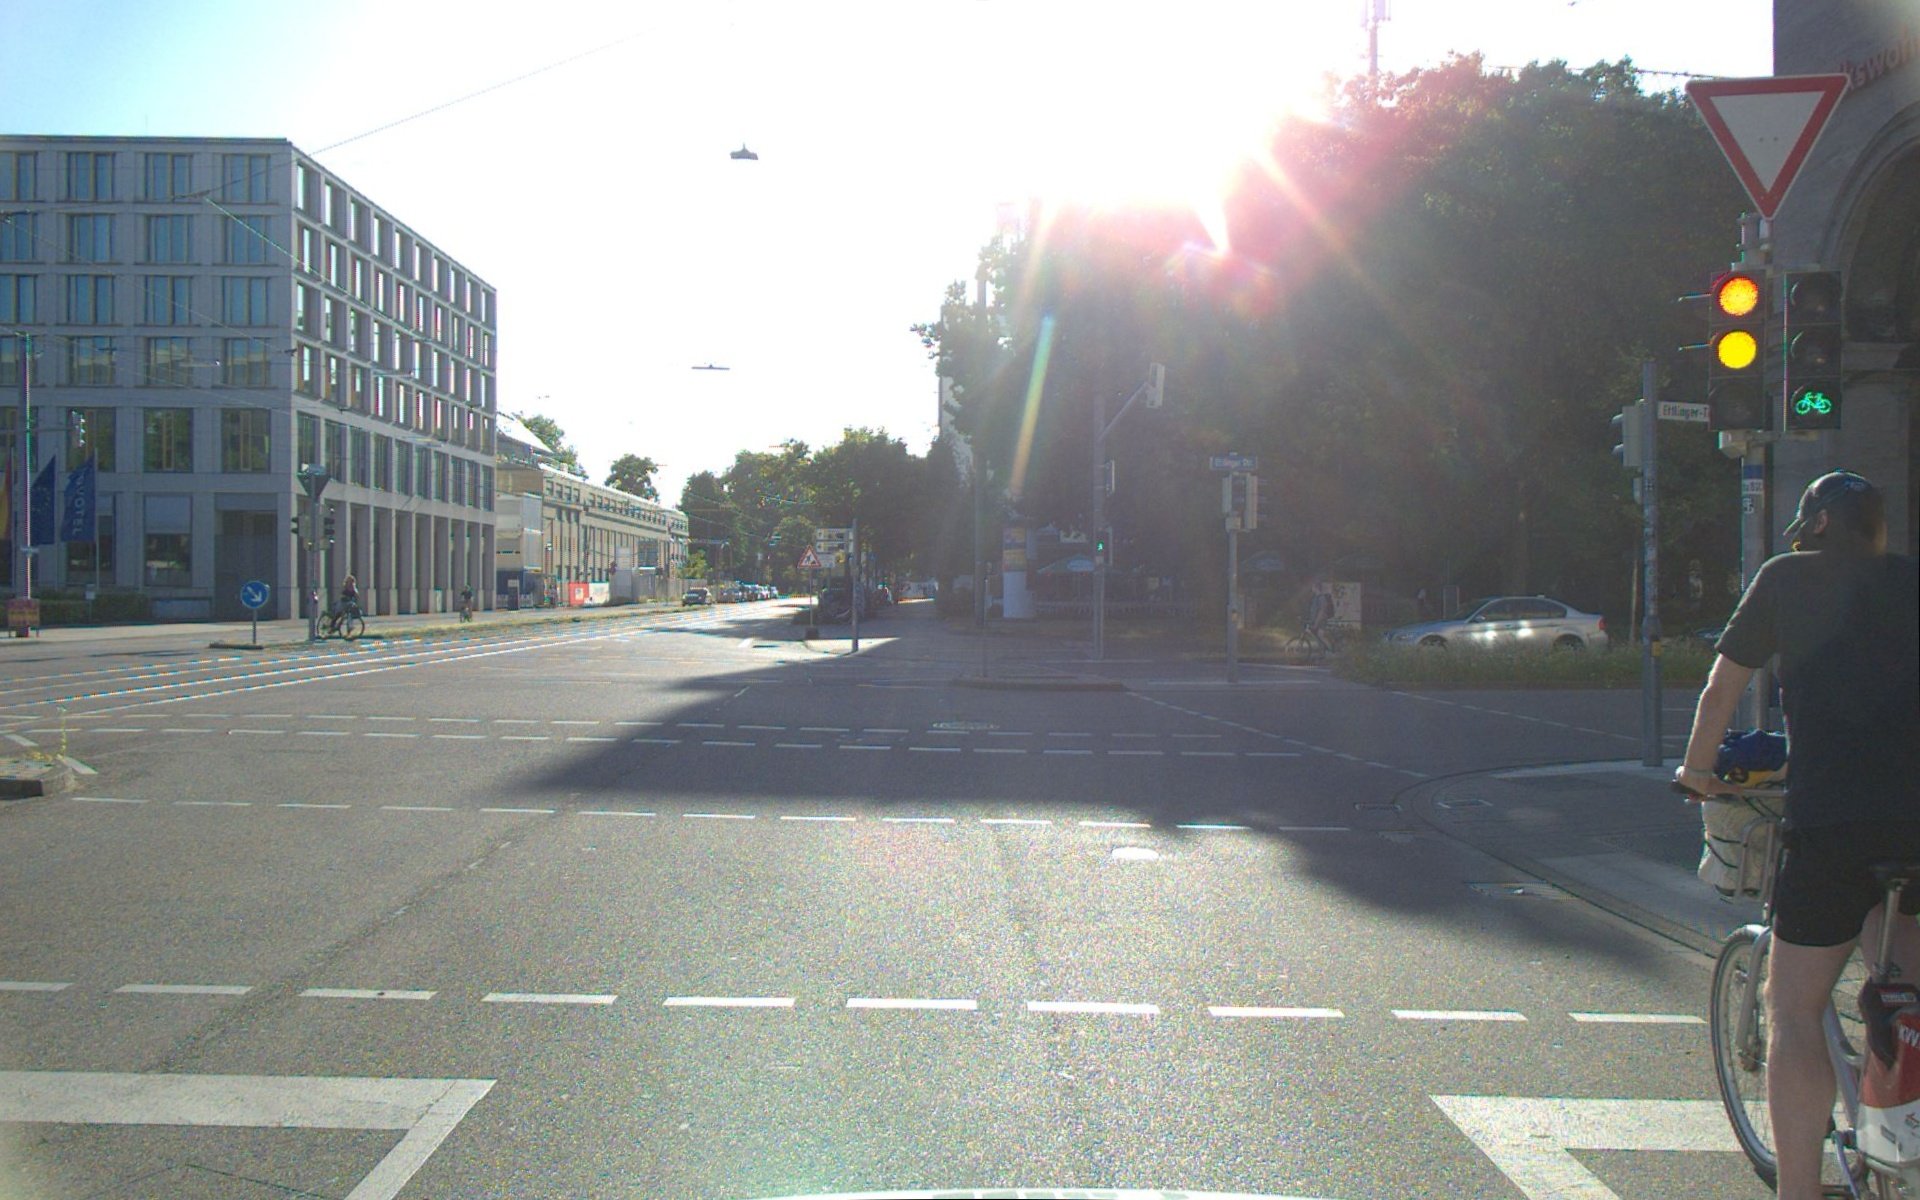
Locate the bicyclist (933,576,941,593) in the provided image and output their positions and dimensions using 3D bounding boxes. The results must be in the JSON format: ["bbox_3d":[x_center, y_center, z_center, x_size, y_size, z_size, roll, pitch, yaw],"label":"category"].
[{"bbox_3d":[-2.805,-1.888,200.428,0.875,2.049,0.746,1,-1,-12],"label":"bicyclist"}]

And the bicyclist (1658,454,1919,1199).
[{"bbox_3d":[2.141,0.568,3.867,0.610,1.745,0.912,0,0,-1],"label":"bicyclist"}]

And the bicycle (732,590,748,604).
[{"bbox_3d":[-19.956,-0.236,149.957,0.735,1.226,3.109,1,0,5],"label":"bicycle"}]

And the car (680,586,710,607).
[{"bbox_3d":[-21.673,-0.309,135.416,1.954,1.627,3.997,0,1,-3],"label":"car"}]

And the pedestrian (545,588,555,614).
[{"bbox_3d":[-30.074,0.058,121.414,0.576,1.922,0.478,1,-1,-1],"label":"pedestrian"}]

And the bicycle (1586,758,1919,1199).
[{"bbox_3d":[2.142,0.995,3.906,0.610,1.062,1.746,0,0,-2],"label":"bicycle"}]

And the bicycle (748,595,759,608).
[{"bbox_3d":[-19.457,0.121,156.062,0.735,1.226,3.107,1,0,-2],"label":"bicycle"}]

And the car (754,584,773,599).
[{"bbox_3d":[-23.058,-1.014,194.348,1.954,1.673,3.997,0,0,-4],"label":"car"}]

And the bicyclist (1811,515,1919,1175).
[{"bbox_3d":[2.856,0.656,4.511,0.572,1.769,0.950,0,0,0],"label":"bicyclist"}]

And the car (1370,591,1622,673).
[{"bbox_3d":[10.854,0.632,33.718,4.483,1.543,2.000,1,0,-1],"label":"car"}]

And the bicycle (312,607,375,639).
[{"bbox_3d":[-16.283,0.605,43.650,1.679,0.837,0.573,0,0,27],"label":"bicycle"}]

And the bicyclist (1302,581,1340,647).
[{"bbox_3d":[7.960,0.307,36.485,0.731,1.431,0.702,1,-1,6],"label":"bicyclist"}]

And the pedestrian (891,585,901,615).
[{"bbox_3d":[-3.773,-0.006,97.539,0.566,1.719,0.584,0,0,-8],"label":"pedestrian"}]

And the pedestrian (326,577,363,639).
[{"bbox_3d":[-16.250,0.207,43.634,0.727,1.623,0.573,0,0,26],"label":"pedestrian"}]

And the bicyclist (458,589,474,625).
[{"bbox_3d":[-21.498,0.297,72.023,0.484,1.525,0.666,0,0,2],"label":"bicyclist"}]

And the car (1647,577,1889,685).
[{"bbox_3d":[16.233,0.612,33.372,3.905,2.049,2.000,1,0,0],"label":"car"}]

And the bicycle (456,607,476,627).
[{"bbox_3d":[-21.496,0.756,72.006,0.484,0.854,1.156,-1,0,2],"label":"bicycle"}]

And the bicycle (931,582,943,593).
[{"bbox_3d":[-2.817,-1.478,200.426,0.875,1.240,2.785,1,0,-12],"label":"bicycle"}]

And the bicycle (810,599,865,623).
[{"bbox_3d":[-4.970,0.429,67.120,2.201,0.956,0.653,0,0,-6],"label":"bicycle"}]

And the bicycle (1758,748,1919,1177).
[{"bbox_3d":[2.850,1.012,4.446,0.570,1.062,1.747,0,0,0],"label":"bicycle"}]

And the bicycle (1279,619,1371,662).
[{"bbox_3d":[8.039,0.882,36.478,1.902,0.905,0.718,1,0,5],"label":"bicycle"}]

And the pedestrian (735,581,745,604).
[{"bbox_3d":[-19.950,-0.666,150.026,0.735,2.099,1.050,1,-1,5],"label":"pedestrian"}]

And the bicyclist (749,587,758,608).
[{"bbox_3d":[-19.459,-0.261,155.944,0.735,1.953,1.214,1,0,-2],"label":"bicyclist"}]
